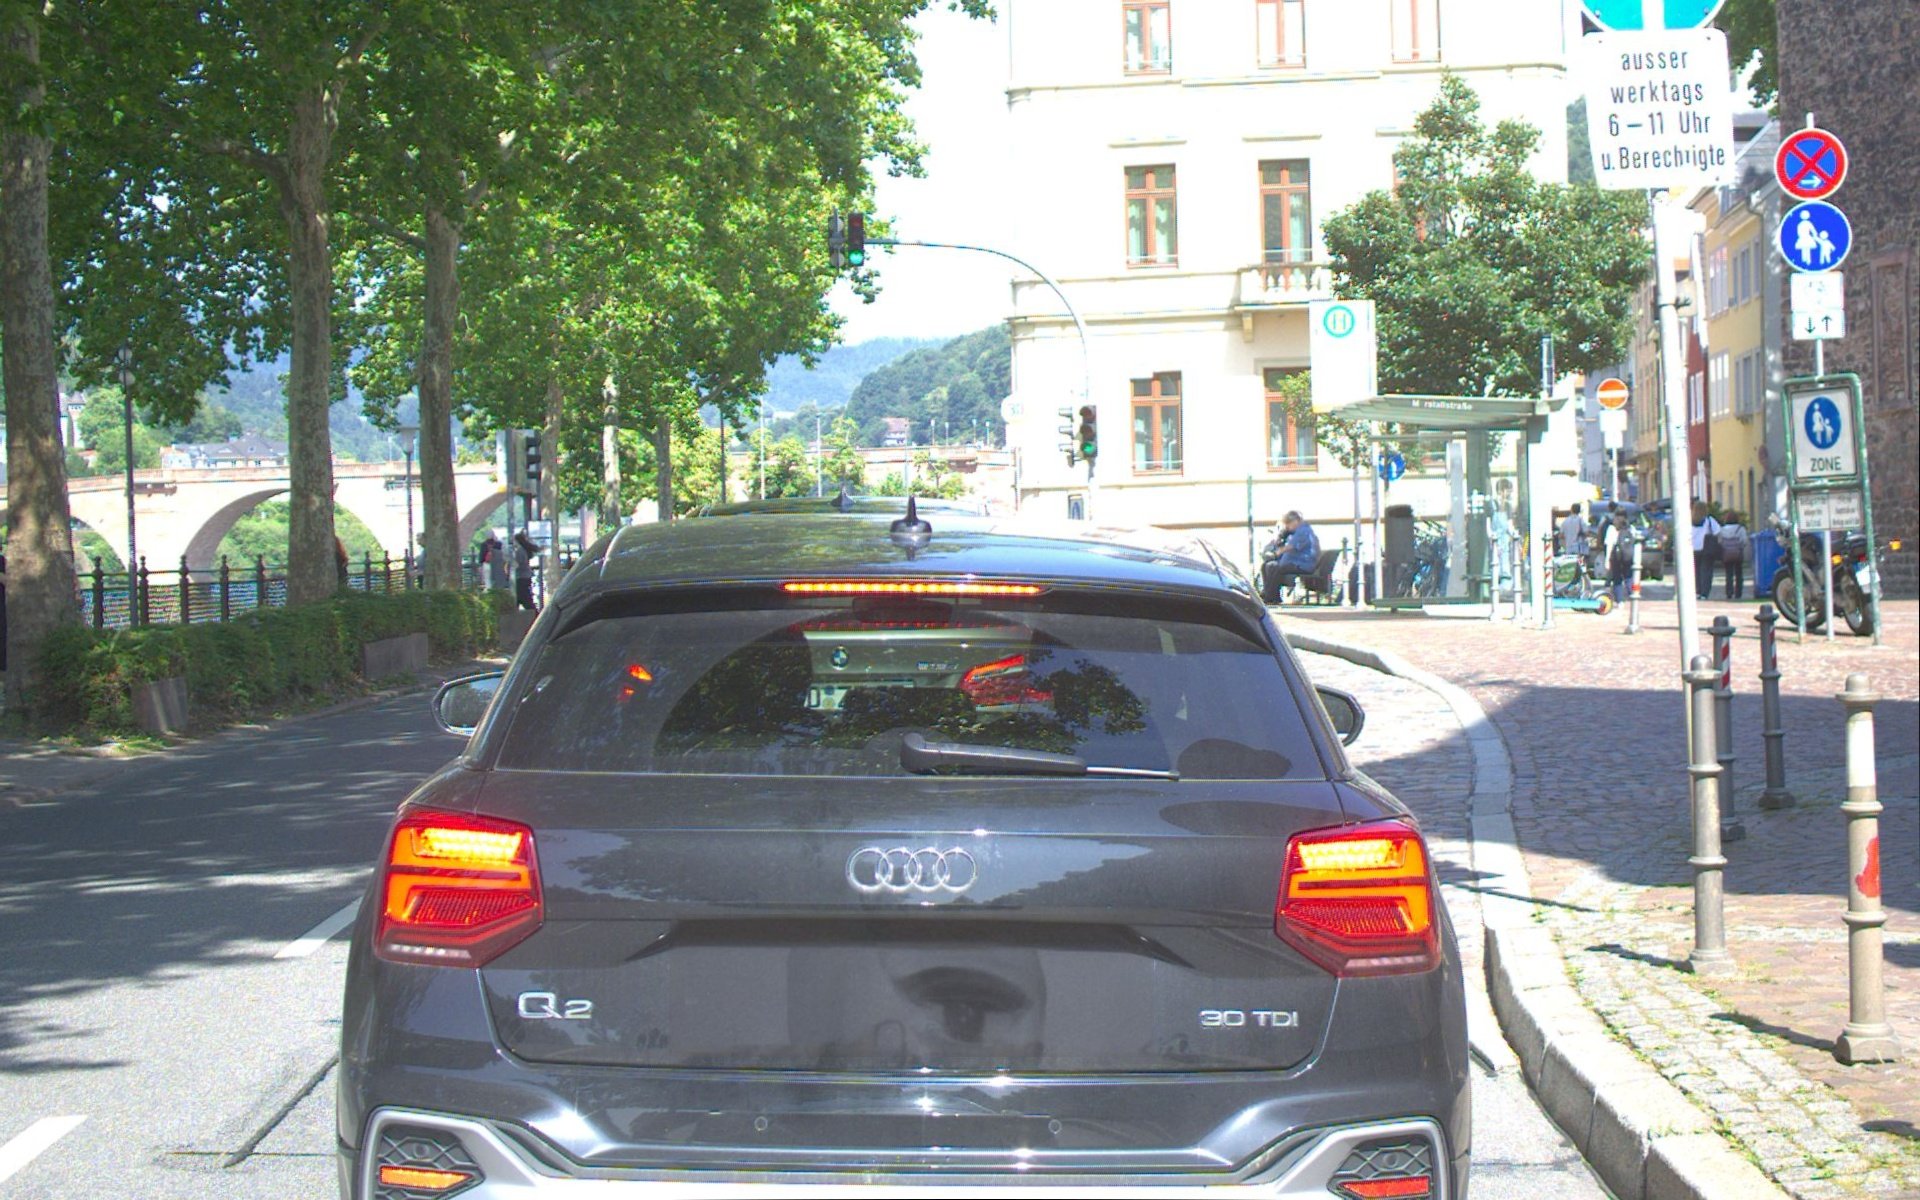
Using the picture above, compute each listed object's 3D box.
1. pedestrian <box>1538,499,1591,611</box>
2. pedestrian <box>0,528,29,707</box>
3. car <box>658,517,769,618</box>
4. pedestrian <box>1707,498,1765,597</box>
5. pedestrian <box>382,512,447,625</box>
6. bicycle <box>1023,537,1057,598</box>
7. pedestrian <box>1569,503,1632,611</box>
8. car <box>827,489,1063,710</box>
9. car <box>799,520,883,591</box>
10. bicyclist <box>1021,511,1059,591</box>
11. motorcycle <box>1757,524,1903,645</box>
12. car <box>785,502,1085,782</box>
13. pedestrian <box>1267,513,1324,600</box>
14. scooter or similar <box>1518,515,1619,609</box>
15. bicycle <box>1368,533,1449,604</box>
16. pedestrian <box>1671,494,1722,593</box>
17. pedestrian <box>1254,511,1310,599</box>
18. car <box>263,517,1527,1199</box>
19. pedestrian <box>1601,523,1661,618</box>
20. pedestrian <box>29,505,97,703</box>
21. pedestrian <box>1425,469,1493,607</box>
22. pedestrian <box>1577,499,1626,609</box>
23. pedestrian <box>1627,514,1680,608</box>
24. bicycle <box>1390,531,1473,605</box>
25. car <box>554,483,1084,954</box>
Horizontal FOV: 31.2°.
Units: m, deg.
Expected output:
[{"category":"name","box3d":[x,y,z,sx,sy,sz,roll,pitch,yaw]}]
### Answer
[{"category":"pedestrian","box3d":[7.518,-0.555,42.783,0.557,1.380,0.588,1,0,2]},{"category":"pedestrian","box3d":[-9.260,0.164,32.742,0.601,1.680,0.583,-1,1,-2]},{"category":"car","box3d":[-4.429,-0.615,62.277,1.673,1.654,4.223,-4,1,-1]},{"category":"pedestrian","box3d":[12.921,-0.877,57.246,0.691,1.607,0.891,-2,1,-1]},{"category":"pedestrian","box3d":[-8.833,-0.508,55.709,0.911,1.805,0.586,1,1,4]},{"category":"bicycle","box3d":[1.450,-0.589,62.450,0.437,1.082,1.677,1,0,-5]},{"category":"pedestrian","box3d":[11.958,-0.801,64.190,0.940,2.007,0.807,1,0,-5]},{"category":"car","box3d":[-0.138,-0.044,28.348,1.794,1.676,4.000,1,1,-1]},{"category":"car","box3d":[-3.117,-1.160,90.553,1.993,1.800,4.000,1,0,1]},{"category":"bicyclist","box3d":[1.452,-0.889,62.520,0.605,1.445,0.591,1,0,-5]},{"category":"motorcycle","box3d":[7.604,-0.159,30.150,0.566,1.009,2.490,-1,1,-2]},{"category":"car","box3d":[-0.164,0.201,21.538,1.710,1.603,3.655,0,1,-1]},{"category":"pedestrian","box3d":[4.690,-0.606,48.092,0.663,1.207,0.641,1,0,-6]},{"category":"scooter or similar","box3d":[6.975,-0.437,39.419,1.088,1.062,0.323,1,0,-2]},{"category":"bicycle","box3d":[6.477,-0.450,49.609,1.184,1.012,0.179,1,0,-19]},{"category":"pedestrian","box3d":[12.319,-0.938,57.477,0.607,1.613,0.710,-3,0,-1]},{"category":"pedestrian","box3d":[4.577,-0.640,48.866,0.663,1.227,0.641,1,0,-6]},{"category":"car","box3d":[-0.116,0.610,6.607,1.743,1.504,3.647,1,1,-1]},{"category":"pedestrian","box3d":[10.391,-0.459,53.256,0.638,1.439,0.799,-2,1,-7]},{"category":"pedestrian","box3d":[-8.575,0.037,32.874,0.534,1.880,0.436,0,1,-1]},{"category":"pedestrian","box3d":[6.094,-0.762,41.998,0.654,1.656,0.810,-1,1,-2]},{"category":"pedestrian","box3d":[13.818,-0.993,74.068,0.879,2.350,0.745,1,0,-1]},{"category":"pedestrian","box3d":[14.914,-0.838,73.900,0.944,2.007,0.807,1,0,0]},{"category":"bicycle","box3d":[6.717,-0.455,48.976,1.201,1.031,0.179,1,0,-19]},{"category":"car","box3d":[-0.502,0.370,13.467,1.793,1.589,3.399,1,1,-1]}]
